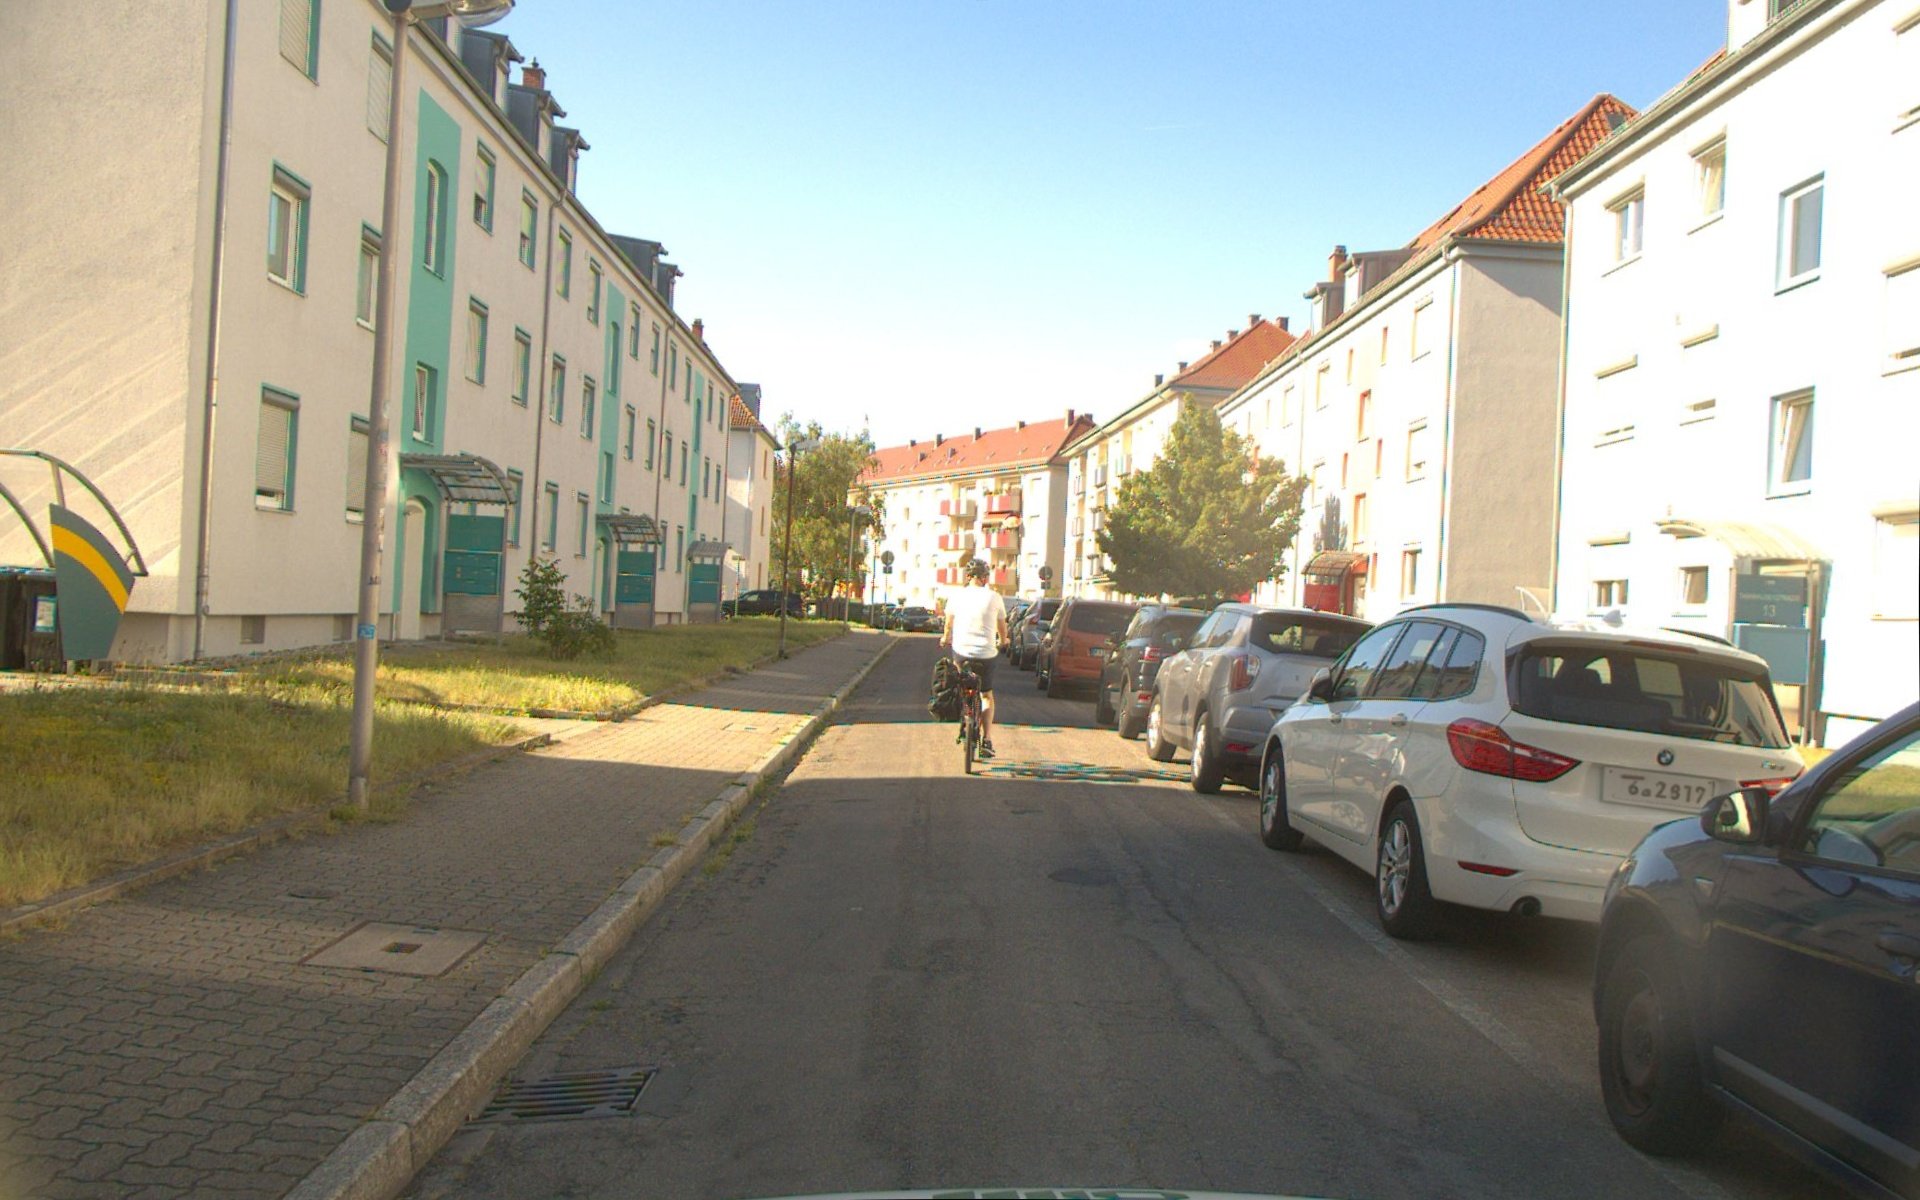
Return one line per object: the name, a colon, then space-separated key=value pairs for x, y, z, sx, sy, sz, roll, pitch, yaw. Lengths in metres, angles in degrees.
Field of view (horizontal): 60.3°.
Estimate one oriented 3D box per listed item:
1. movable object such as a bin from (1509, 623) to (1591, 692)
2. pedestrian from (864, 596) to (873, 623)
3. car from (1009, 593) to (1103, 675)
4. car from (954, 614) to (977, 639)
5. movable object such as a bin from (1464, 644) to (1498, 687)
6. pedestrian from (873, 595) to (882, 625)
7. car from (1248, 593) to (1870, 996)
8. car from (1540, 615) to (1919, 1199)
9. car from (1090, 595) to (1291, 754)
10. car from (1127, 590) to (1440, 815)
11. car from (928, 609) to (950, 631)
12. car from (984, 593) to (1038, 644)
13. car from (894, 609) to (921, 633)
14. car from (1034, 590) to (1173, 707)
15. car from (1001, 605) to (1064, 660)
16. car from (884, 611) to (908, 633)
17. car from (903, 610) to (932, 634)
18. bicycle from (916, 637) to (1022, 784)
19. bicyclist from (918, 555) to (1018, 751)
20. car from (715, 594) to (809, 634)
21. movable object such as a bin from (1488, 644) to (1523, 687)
movable object such as a bin: x=12.960 y=1.255 z=36.386 sx=1.332 sy=1.440 sz=1.187 roll=2 pitch=0 yaw=-1
pedestrian: x=-5.065 y=0.519 z=91.318 sx=0.425 sy=1.452 sz=0.543 roll=2 pitch=0 yaw=-1
car: x=2.189 y=0.751 z=38.790 sx=1.667 sy=1.700 sz=4.377 roll=4 pitch=0 yaw=-3
car: x=0.375 y=1.769 z=111.851 sx=1.354 sy=1.523 sz=3.075 roll=3 pitch=0 yaw=-3
movable object such as a bin: x=11.474 y=1.439 z=36.453 sx=0.512 sy=0.902 sz=0.633 roll=3 pitch=0 yaw=-1
pedestrian: x=-4.578 y=0.552 z=91.360 sx=0.425 sy=1.602 sz=0.543 roll=2 pitch=0 yaw=-1
car: x=2.928 y=0.821 z=9.219 sx=1.656 sy=1.602 sz=4.433 roll=4 pitch=0 yaw=-2
car: x=2.843 y=0.851 z=3.686 sx=1.608 sy=1.524 sz=4.156 roll=2 pitch=0 yaw=0
car: x=2.737 y=0.824 z=20.551 sx=1.678 sy=1.623 sz=4.396 roll=5 pitch=0 yaw=-1
car: x=2.798 y=0.804 z=15.342 sx=1.716 sy=1.645 sz=4.449 roll=5 pitch=0 yaw=-3
car: x=-1.604 y=1.506 z=124.389 sx=1.440 sy=1.542 sz=3.075 roll=3 pitch=0 yaw=-3
car: x=1.892 y=0.681 z=62.294 sx=1.641 sy=1.769 sz=3.940 roll=3 pitch=0 yaw=-3
car: x=-3.181 y=1.238 z=99.616 sx=1.440 sy=1.359 sz=3.138 roll=-1 pitch=0 yaw=-5
car: x=2.362 y=0.773 z=28.206 sx=1.824 sy=1.697 sz=4.126 roll=4 pitch=0 yaw=-1
car: x=2.057 y=0.908 z=48.041 sx=1.527 sy=1.436 sz=3.932 roll=4 pitch=0 yaw=-1
car: x=-4.104 y=1.392 z=106.259 sx=1.440 sy=1.359 sz=3.138 roll=-1 pitch=0 yaw=-4
car: x=-2.449 y=1.256 z=95.258 sx=1.441 sy=1.359 sz=3.137 roll=-1 pitch=0 yaw=-5
bicycle: x=0.048 y=0.938 z=14.706 sx=0.792 sy=1.148 sz=2.100 roll=2 pitch=0 yaw=-3
bicyclist: x=0.060 y=0.459 z=14.732 sx=0.792 sy=1.672 sz=0.898 roll=2 pitch=0 yaw=-3
car: x=-9.119 y=0.626 z=76.386 sx=4.149 sy=1.667 sz=1.581 roll=2 pitch=0 yaw=-5
movable object such as a bin: x=12.020 y=1.448 z=36.448 sx=0.512 sy=0.902 sz=0.633 roll=3 pitch=0 yaw=-1
